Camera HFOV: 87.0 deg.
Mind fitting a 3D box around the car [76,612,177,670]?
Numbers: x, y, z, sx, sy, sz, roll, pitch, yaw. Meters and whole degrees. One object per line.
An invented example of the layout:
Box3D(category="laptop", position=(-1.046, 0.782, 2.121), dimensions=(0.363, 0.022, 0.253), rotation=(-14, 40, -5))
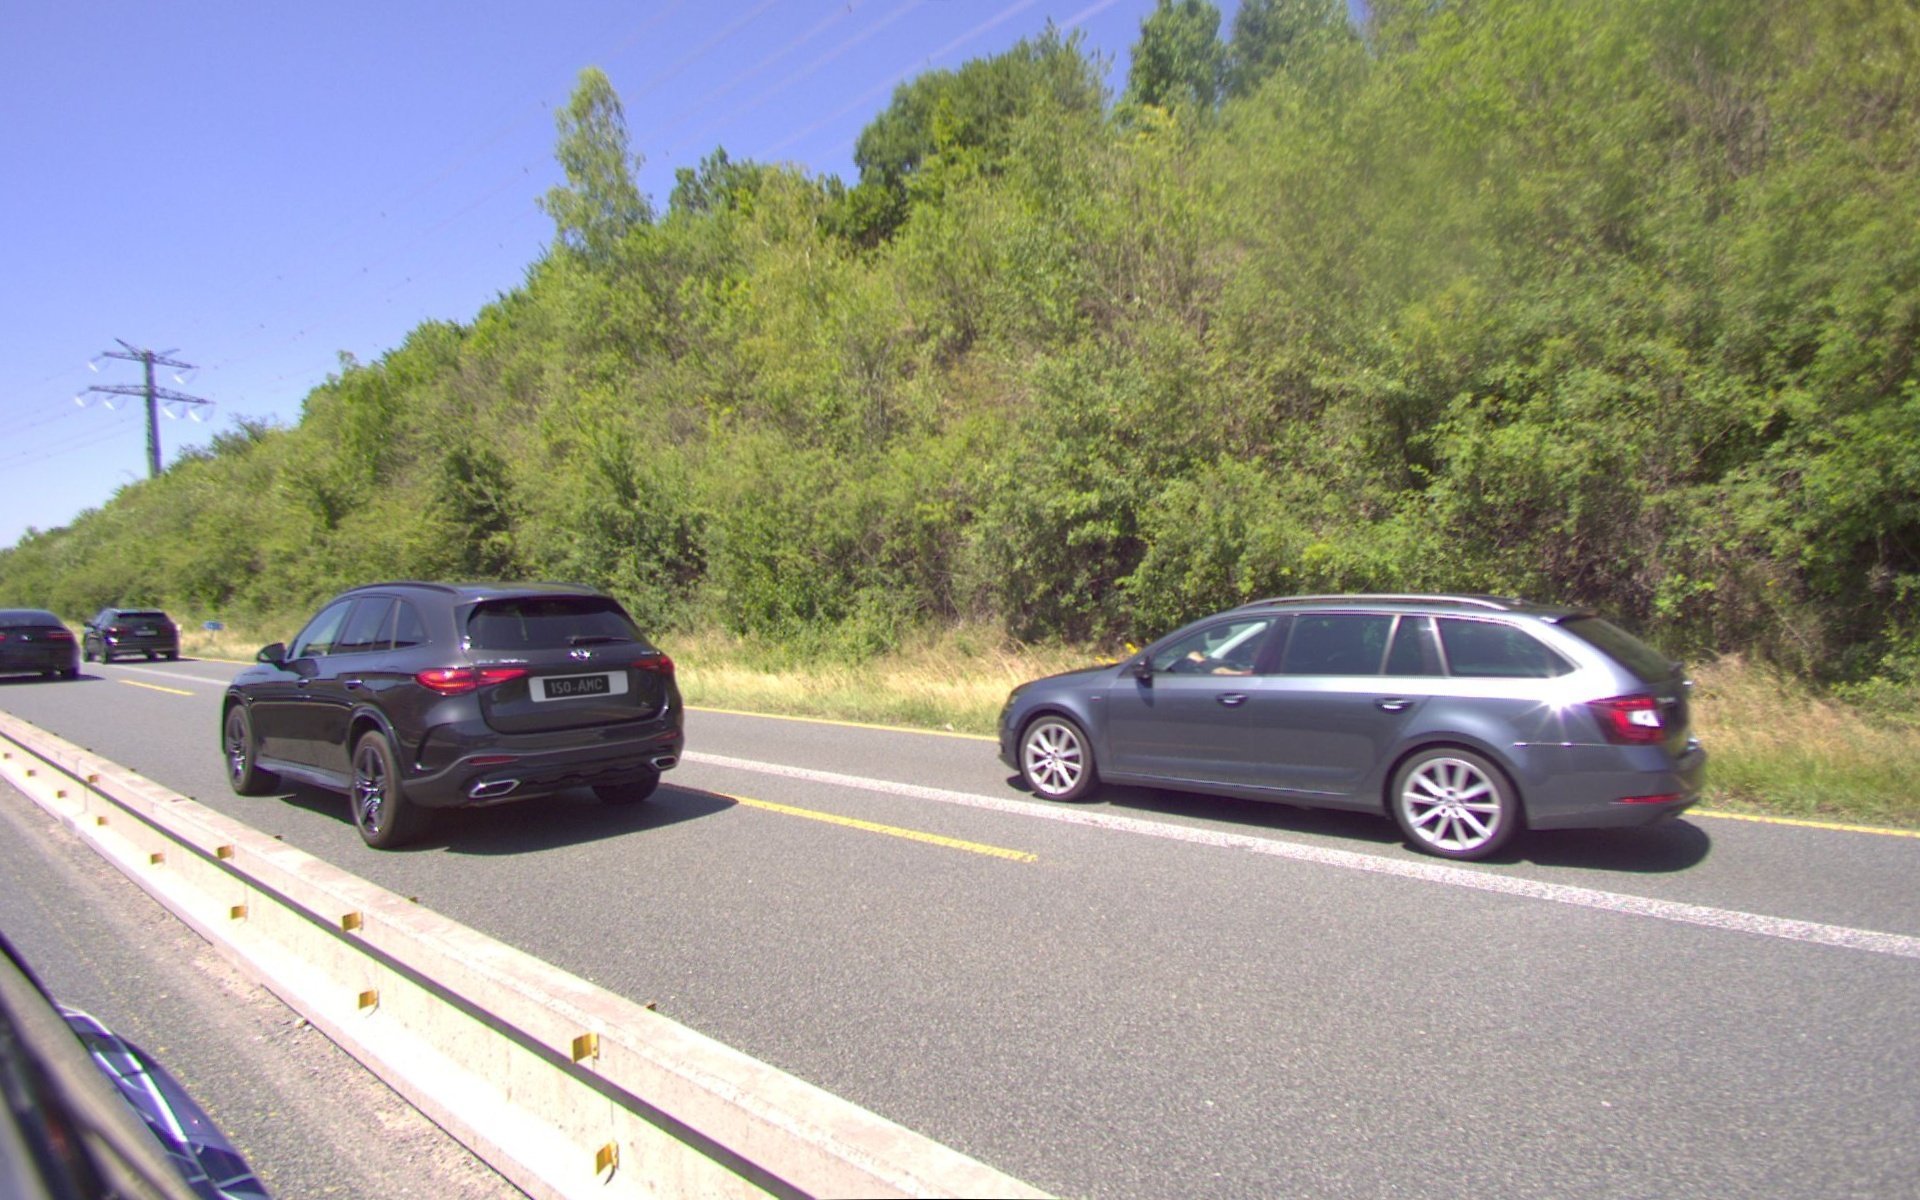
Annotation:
Box3D(category="car", position=(-25.150, 1.189, 30.486), dimensions=(3.992, 1.577, 1.682), rotation=(-1, 0, 41))

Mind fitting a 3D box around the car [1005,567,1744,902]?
Box3D(category="car", position=(2.462, 0.640, 6.674), dimensions=(4.183, 1.533, 1.705), rotation=(-1, 0, 41))

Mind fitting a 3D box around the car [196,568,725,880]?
Box3D(category="car", position=(-3.944, 0.667, 7.549), dimensions=(4.696, 1.622, 1.825), rotation=(-1, 1, 41))

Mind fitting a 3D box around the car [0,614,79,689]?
Box3D(category="car", position=(-21.338, 1.114, 22.616), dimensions=(4.668, 1.545, 1.824), rotation=(-1, -2, 41))
